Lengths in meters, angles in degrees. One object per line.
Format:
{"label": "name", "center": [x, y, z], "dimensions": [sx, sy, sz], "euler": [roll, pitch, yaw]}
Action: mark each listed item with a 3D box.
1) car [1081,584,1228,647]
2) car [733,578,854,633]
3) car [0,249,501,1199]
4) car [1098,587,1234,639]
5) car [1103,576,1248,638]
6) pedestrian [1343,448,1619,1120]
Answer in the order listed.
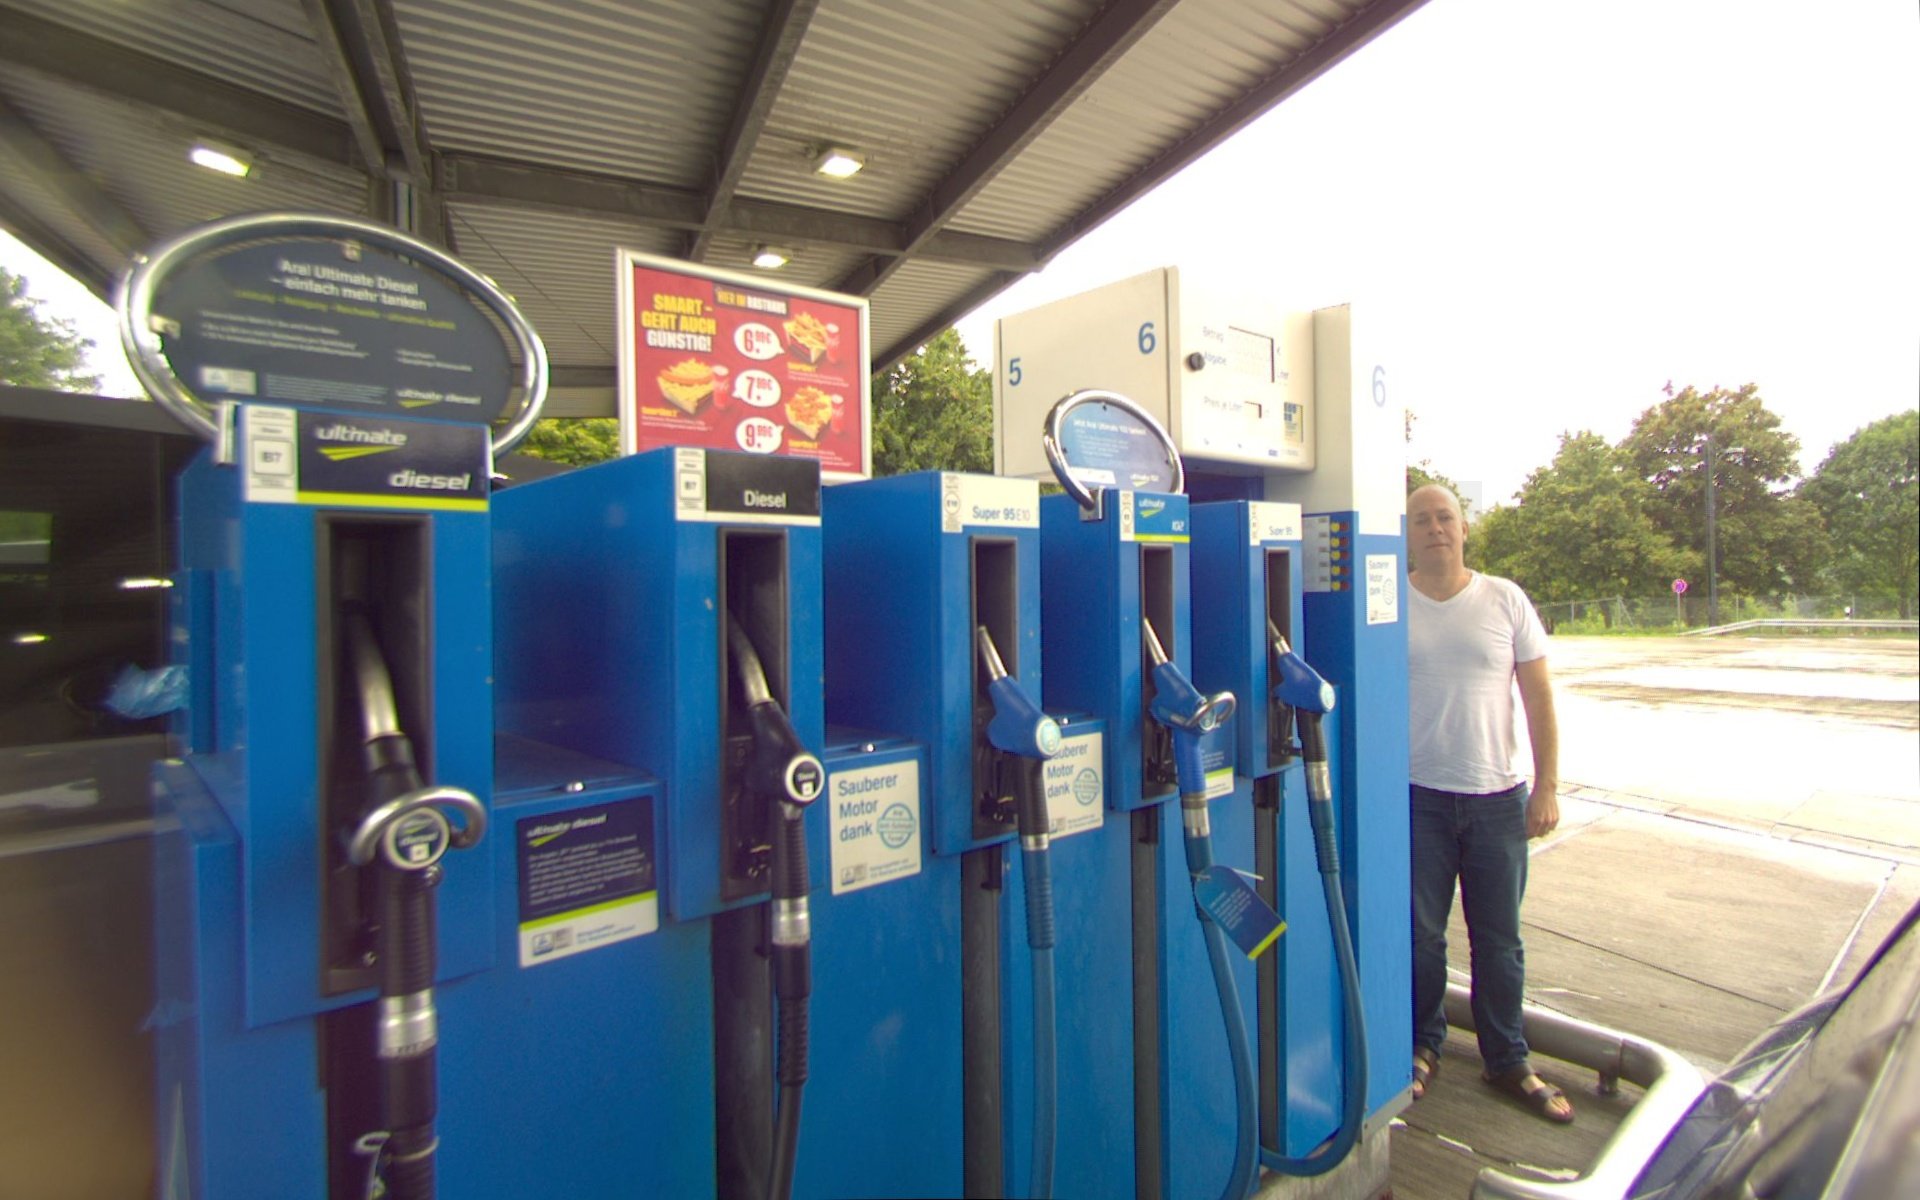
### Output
{"label": "car", "center": [5.800, 0.415, 29.982], "dimensions": [4.123, 1.752, 1.990], "euler": [0, 0, 17]}
{"label": "car", "center": [-5.560, 0.146, 33.482], "dimensions": [1.967, 1.683, 4.170], "euler": [0, 0, -44]}
{"label": "car", "center": [-3.019, 0.424, 1.485], "dimensions": [3.930, 1.973, 1.819], "euler": [0, 0, -41]}
{"label": "car", "center": [6.618, 0.392, 32.391], "dimensions": [4.123, 1.576, 1.990], "euler": [0, 0, 17]}
{"label": "car", "center": [7.358, 0.208, 34.650], "dimensions": [4.700, 2.011, 2.007], "euler": [0, 0, 14]}
{"label": "pedestrian", "center": [1.541, 0.502, 3.075], "dimensions": [0.625, 1.832, 0.492], "euler": [-1, 1, 15]}
